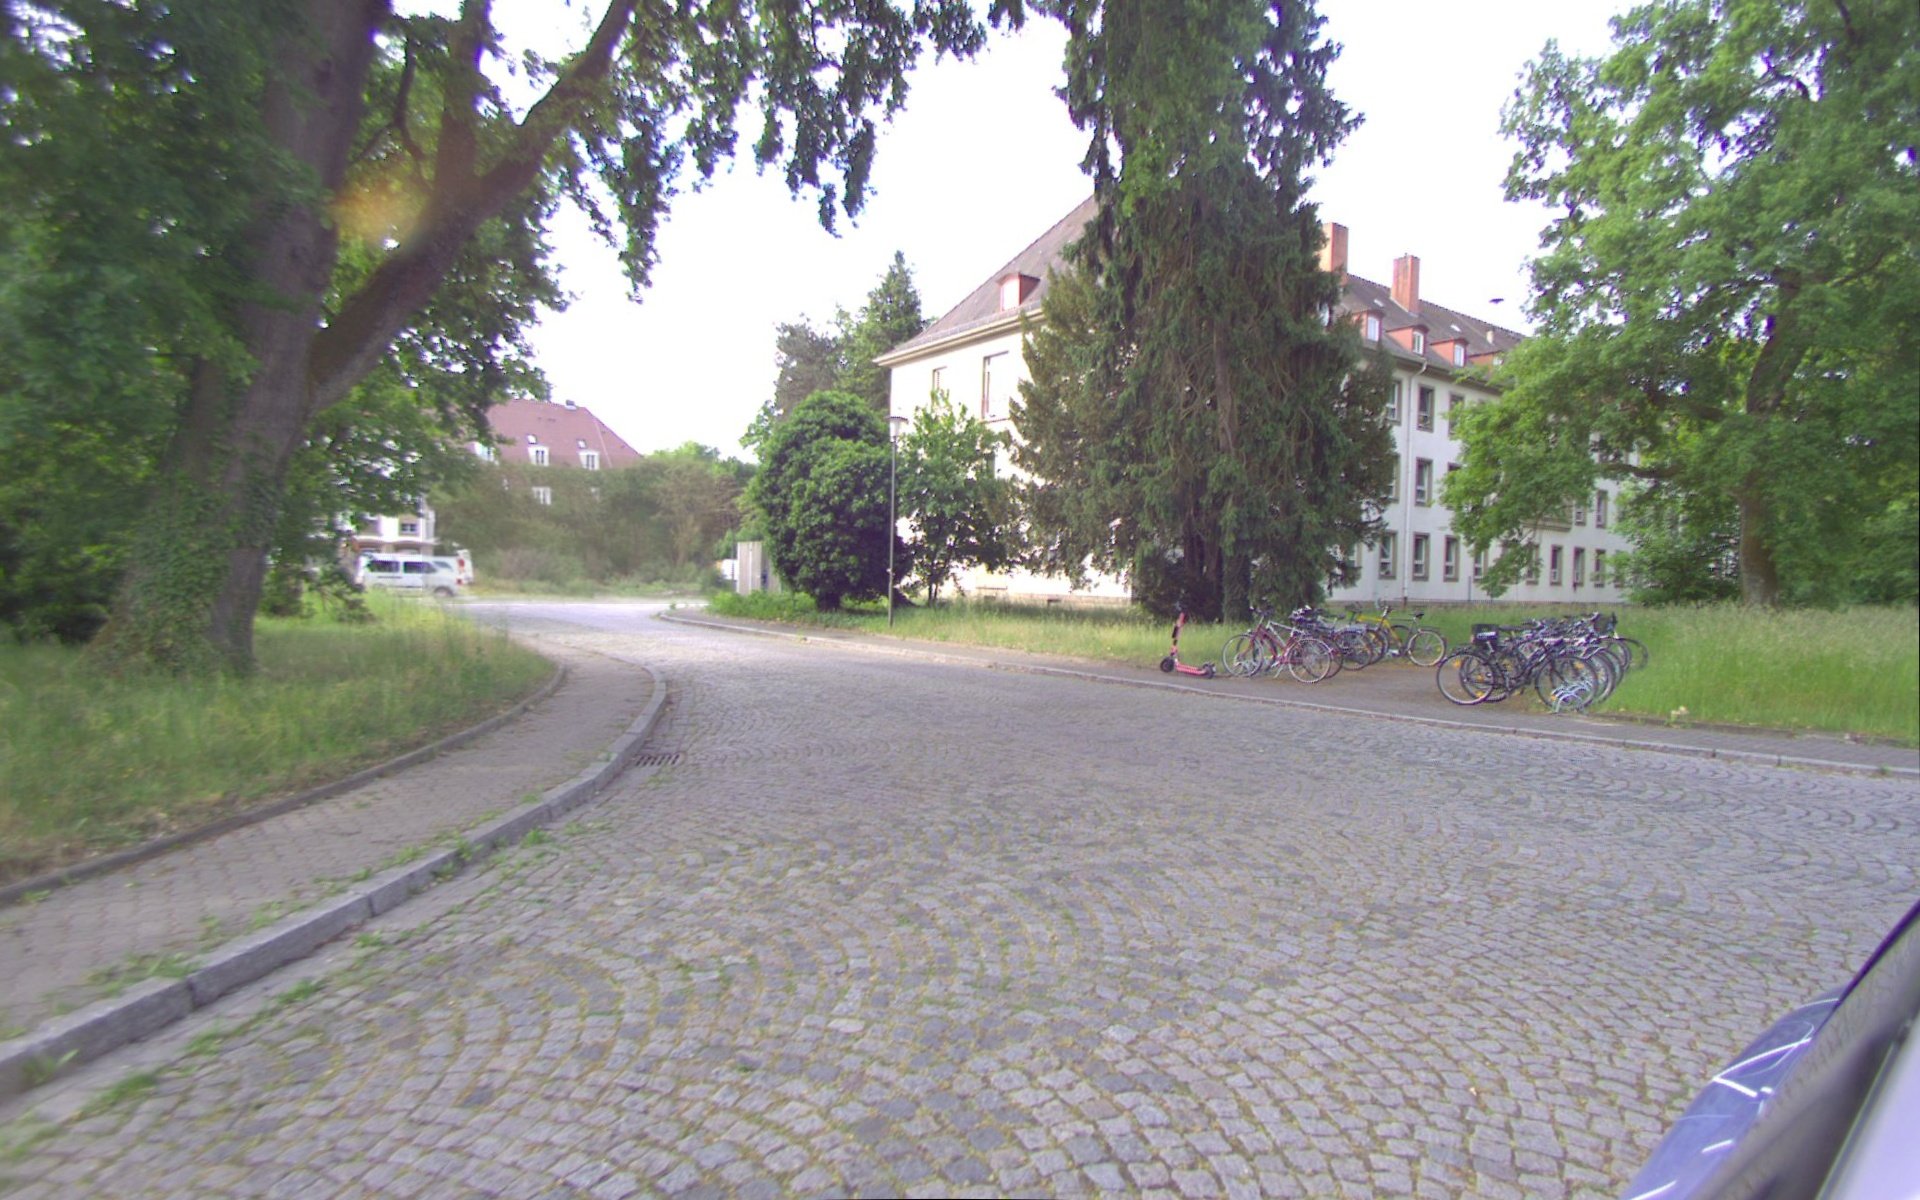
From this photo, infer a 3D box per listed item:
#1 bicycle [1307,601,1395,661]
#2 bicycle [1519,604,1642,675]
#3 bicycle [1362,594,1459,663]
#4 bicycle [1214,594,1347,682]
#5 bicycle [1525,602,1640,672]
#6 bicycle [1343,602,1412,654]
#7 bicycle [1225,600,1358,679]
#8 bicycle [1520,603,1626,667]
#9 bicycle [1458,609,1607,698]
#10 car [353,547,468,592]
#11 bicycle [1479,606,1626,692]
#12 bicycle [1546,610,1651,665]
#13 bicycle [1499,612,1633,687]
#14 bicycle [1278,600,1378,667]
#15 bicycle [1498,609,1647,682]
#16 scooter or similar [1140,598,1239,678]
[{"bbox_3d":[7.386,0.569,19.119,1.500,1.048,0.541,2,3,25],"label":"bicycle"},{"bbox_3d":[10.606,0.648,17.337,1.765,1.118,0.535,1,2,36],"label":"bicycle"},{"bbox_3d":[8.535,0.516,19.201,1.629,1.200,0.568,2,3,29],"label":"bicycle"},{"bbox_3d":[5.066,0.568,16.050,1.890,1.237,0.636,3,4,36],"label":"bicycle"},{"bbox_3d":[10.914,0.625,17.779,1.691,1.130,0.535,1,2,36],"label":"bicycle"},{"bbox_3d":[8.703,0.579,21.110,1.255,1.042,0.428,1,-2,36],"label":"bicycle"},{"bbox_3d":[5.421,0.615,16.612,1.979,1.128,0.636,2,3,36],"label":"bicycle"},{"bbox_3d":[11.080,0.618,18.320,1.611,1.072,0.520,1,2,36],"label":"bicycle"},{"bbox_3d":[8.009,0.711,14.181,1.762,1.117,0.694,1,2,36],"label":"bicycle"},{"bbox_3d":[-30.995,-1.702,57.129,5.427,2.234,2.127,2,3,-36],"label":"car"},{"bbox_3d":[8.566,0.681,14.663,1.788,1.117,0.694,1,2,36],"label":"bicycle"},{"bbox_3d":[11.685,0.669,18.542,1.611,0.922,0.520,1,2,36],"label":"bicycle"},{"bbox_3d":[9.049,0.711,15.144,1.686,1.014,0.624,1,2,36],"label":"bicycle"},{"bbox_3d":[6.506,0.573,17.901,1.613,1.086,0.535,2,3,25],"label":"bicycle"},{"bbox_3d":[9.539,0.679,15.791,1.948,1.017,0.678,1,2,36],"label":"bicycle"},{"bbox_3d":[3.724,0.589,16.518,0.669,1.210,1.554,0,1,-32],"label":"scooter or similar"}]
